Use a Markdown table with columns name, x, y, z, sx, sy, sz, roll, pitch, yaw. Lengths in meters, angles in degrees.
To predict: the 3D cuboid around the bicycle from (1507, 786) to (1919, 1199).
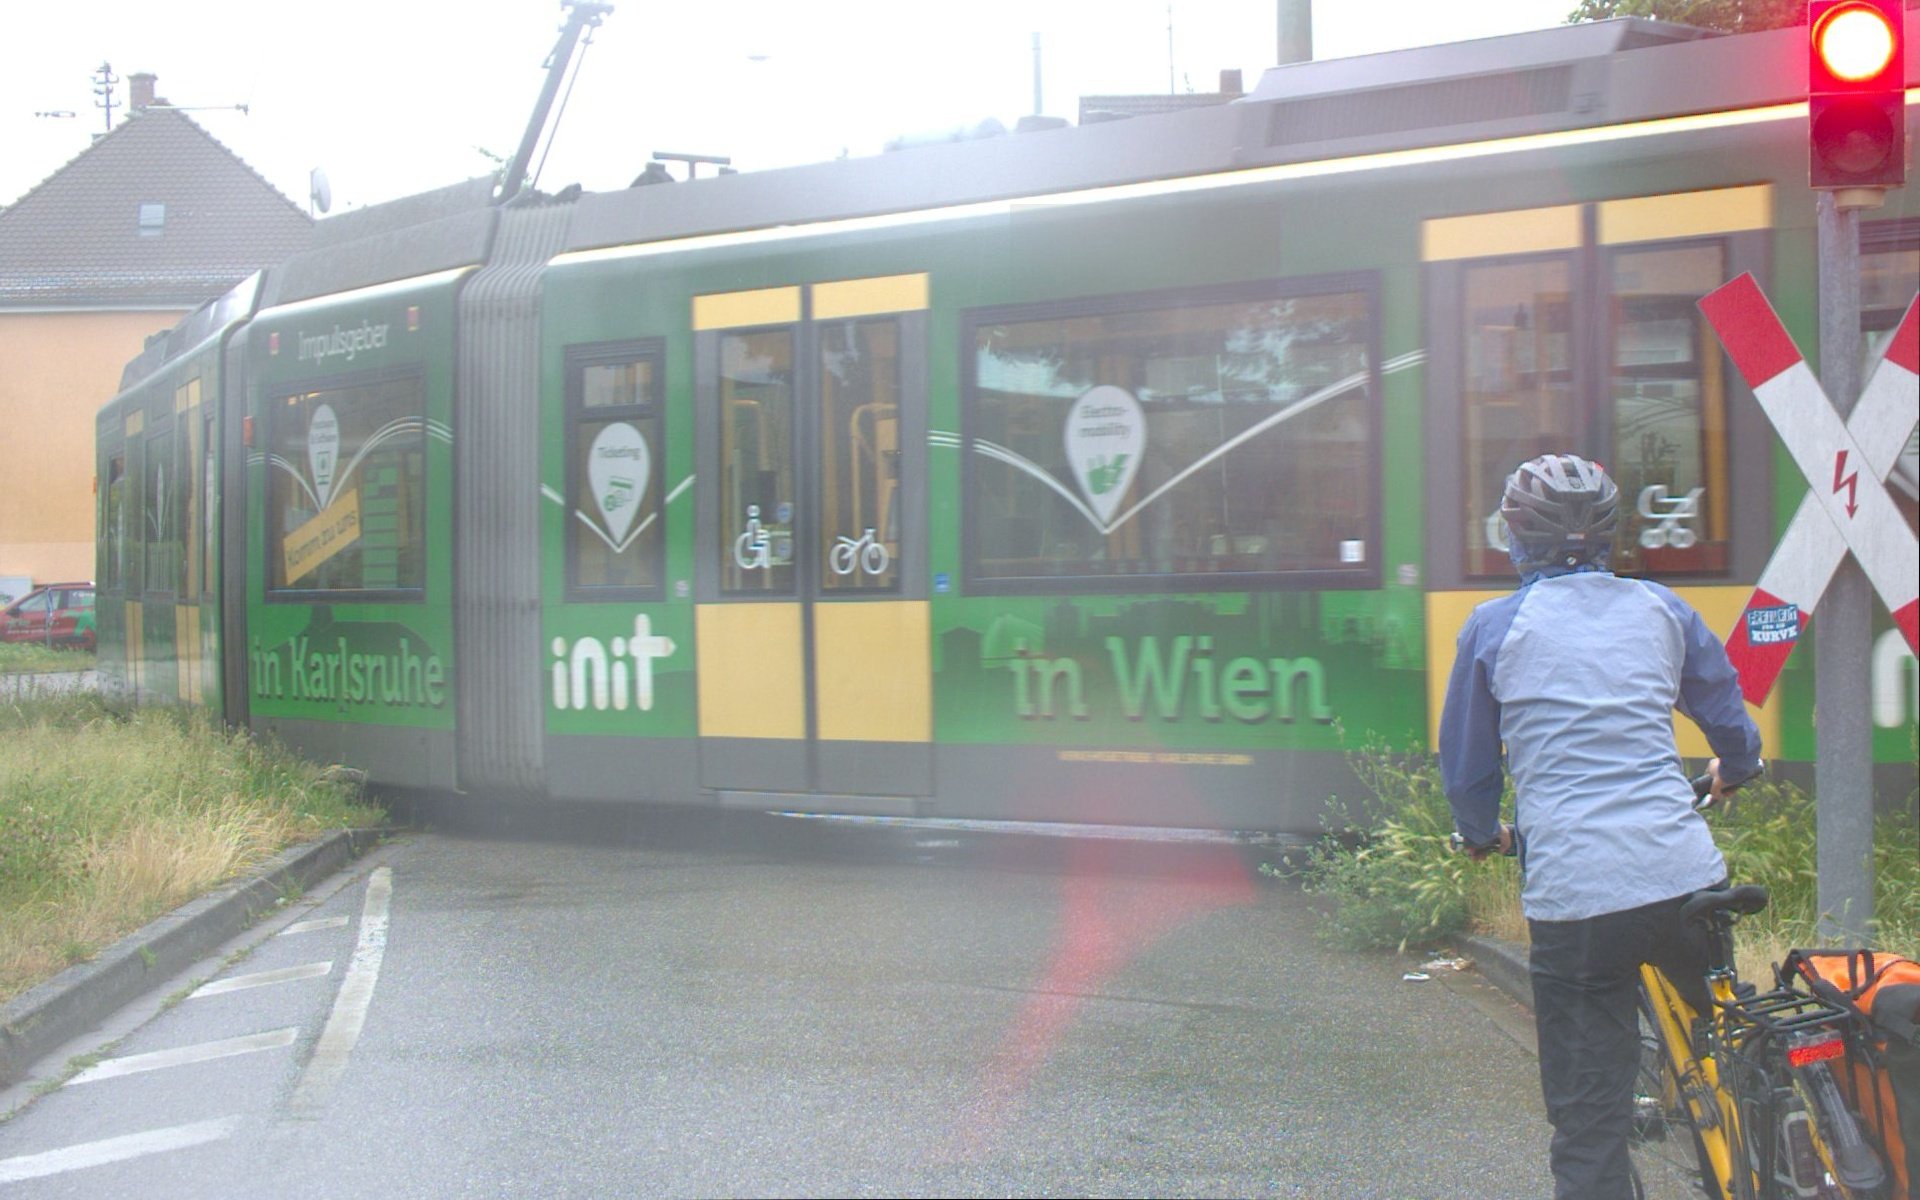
| name | x | y | z | sx | sy | sz | roll | pitch | yaw |
| --- | --- | --- | --- | --- | --- | --- | --- | --- | --- |
| bicycle | 1.355 | 0.899 | 6.073 | 0.446 | 1.001 | 1.728 | -1 | 1 | -2 |

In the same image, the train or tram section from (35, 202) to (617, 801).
| name | x | y | z | sx | sy | sz | roll | pitch | yaw |
| --- | --- | --- | --- | --- | --- | --- | --- | --- | --- |
| train or tram section | -5.473 | -0.663 | 26.999 | 2.760 | 3.541 | 13.136 | -2 | 1 | -18 |

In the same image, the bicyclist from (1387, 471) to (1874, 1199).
| name | x | y | z | sx | sy | sz | roll | pitch | yaw |
| --- | --- | --- | --- | --- | --- | --- | --- | --- | --- |
| bicyclist | 1.171 | 0.596 | 6.167 | 0.667 | 1.620 | 0.853 | 1 | 0 | -2 |

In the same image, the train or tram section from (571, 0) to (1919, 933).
| name | x | y | z | sx | sy | sz | roll | pitch | yaw |
| --- | --- | --- | --- | --- | --- | --- | --- | --- | --- |
| train or tram section | 3.510 | -0.643 | 13.631 | 12.194 | 3.541 | 2.763 | -1 | 1 | 43 |

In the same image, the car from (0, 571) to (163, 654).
| name | x | y | z | sx | sy | sz | roll | pitch | yaw |
| --- | --- | --- | --- | --- | --- | --- | --- | --- | --- |
| car | -16.658 | 0.218 | 62.600 | 3.986 | 1.451 | 1.834 | 1 | 0 | -6 |

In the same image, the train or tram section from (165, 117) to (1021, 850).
| name | x | y | z | sx | sy | sz | roll | pitch | yaw |
| --- | --- | --- | --- | --- | --- | --- | --- | --- | --- |
| train or tram section | -2.238 | -0.614 | 19.465 | 2.761 | 3.541 | 4.988 | -2 | 1 | -34 |
